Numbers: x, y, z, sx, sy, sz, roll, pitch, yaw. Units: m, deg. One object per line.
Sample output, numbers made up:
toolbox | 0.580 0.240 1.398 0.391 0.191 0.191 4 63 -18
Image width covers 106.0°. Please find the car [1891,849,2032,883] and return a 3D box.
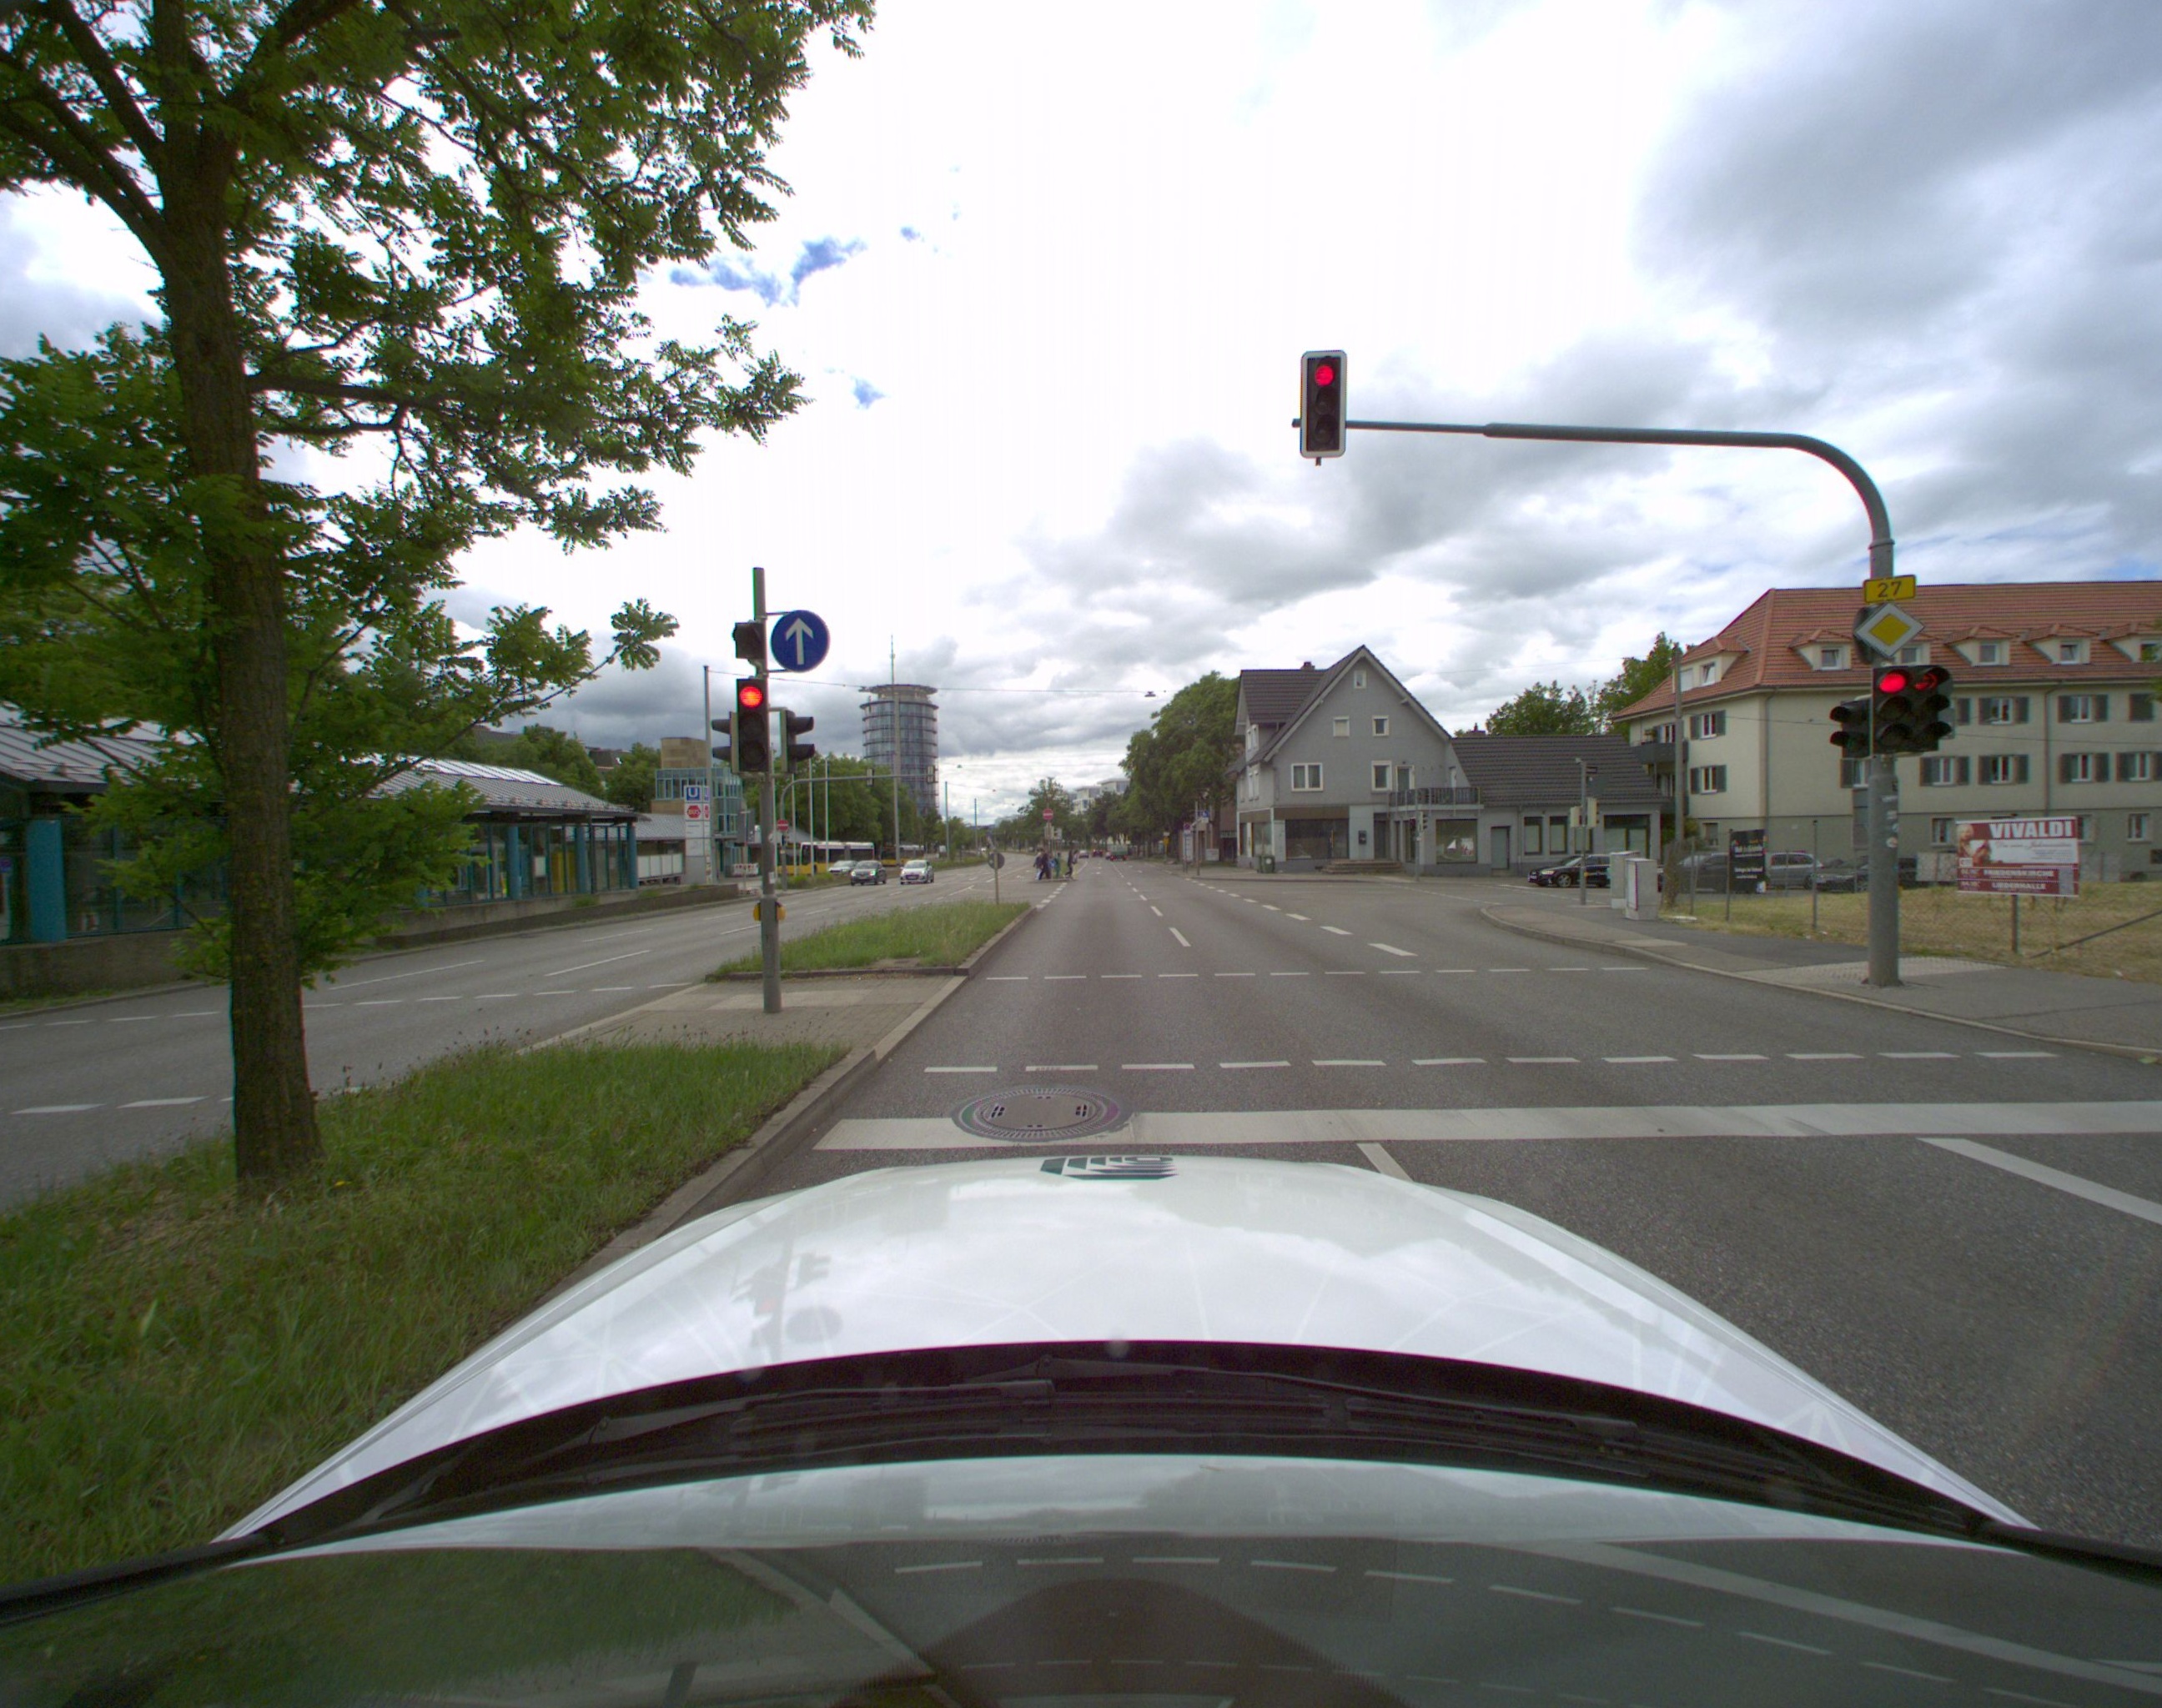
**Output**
car | 37.390 0.491 34.652 4.075 1.371 1.800 0 0 0

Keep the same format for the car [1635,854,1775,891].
car | 23.961 0.695 31.371 4.075 1.371 1.800 0 0 0

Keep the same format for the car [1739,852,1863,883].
car | 32.855 0.609 37.236 4.075 1.371 1.800 0 0 0

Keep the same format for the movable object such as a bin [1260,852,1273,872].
movable object such as a bin | 9.983 0.448 43.822 0.602 1.059 0.590 0 0 3

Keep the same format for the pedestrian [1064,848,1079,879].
pedestrian | -0.532 0.523 44.851 0.744 1.716 0.582 -2 0 -6

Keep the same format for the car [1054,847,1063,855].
car | -4.845 -0.620 176.526 1.988 1.519 3.997 -2 0 -2

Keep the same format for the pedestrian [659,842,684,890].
pedestrian | -17.545 0.520 34.894 0.680 2.013 0.645 -2 0 -3

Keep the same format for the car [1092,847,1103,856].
car | 3.021 -0.481 149.399 1.986 1.552 4.001 0 0 1

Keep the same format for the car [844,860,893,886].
car | -13.450 1.203 51.833 1.987 1.486 4.000 -2 0 0

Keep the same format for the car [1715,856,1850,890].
car | 29.119 0.772 33.885 4.075 1.371 1.800 0 0 0

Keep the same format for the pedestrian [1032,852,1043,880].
pedestrian | -2.364 0.645 44.499 0.542 1.496 0.485 -2 0 -7

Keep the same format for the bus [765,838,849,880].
bus | -24.276 0.385 73.017 2.817 3.430 10.750 -2 0 6

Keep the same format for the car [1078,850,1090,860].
car | 0.462 0.154 143.605 1.986 1.830 4.001 -1 0 1

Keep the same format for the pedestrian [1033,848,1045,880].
pedestrian | -2.324 0.548 45.361 0.611 1.716 0.545 -2 0 -5

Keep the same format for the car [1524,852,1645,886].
car | 21.376 0.630 34.680 4.075 1.371 1.800 0 0 0

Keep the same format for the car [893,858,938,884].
car | -10.373 1.041 51.344 1.987 1.486 4.000 -2 0 0

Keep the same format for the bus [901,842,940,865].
bus | -24.613 -0.088 125.656 2.817 3.430 10.750 -2 0 6

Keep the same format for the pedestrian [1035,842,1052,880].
pedestrian | -2.017 0.394 43.917 0.829 2.013 0.545 -2 0 -6

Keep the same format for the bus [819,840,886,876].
bus | -23.221 0.363 83.582 2.817 3.430 10.750 -2 0 6

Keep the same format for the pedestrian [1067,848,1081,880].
pedestrian | -0.374 0.536 44.330 0.652 1.716 0.451 -2 0 -6

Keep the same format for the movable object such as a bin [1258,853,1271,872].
movable object such as a bin | 9.997 0.457 44.330 0.613 1.043 0.590 0 0 3

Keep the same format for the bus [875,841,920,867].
bus | -25.693 0.029 114.933 2.817 3.430 10.750 -2 0 6

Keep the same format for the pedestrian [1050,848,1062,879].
pedestrian | -1.406 0.547 46.085 0.582 1.716 0.545 -2 0 -5

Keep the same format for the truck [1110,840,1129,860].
truck | 5.216 -0.598 110.980 2.461 2.611 6.552 0 1 2

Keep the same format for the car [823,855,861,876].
car | -20.074 0.938 68.571 1.798 1.662 4.003 -2 0 3

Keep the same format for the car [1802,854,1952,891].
car | 30.769 0.686 31.566 4.075 1.371 1.800 0 0 0
